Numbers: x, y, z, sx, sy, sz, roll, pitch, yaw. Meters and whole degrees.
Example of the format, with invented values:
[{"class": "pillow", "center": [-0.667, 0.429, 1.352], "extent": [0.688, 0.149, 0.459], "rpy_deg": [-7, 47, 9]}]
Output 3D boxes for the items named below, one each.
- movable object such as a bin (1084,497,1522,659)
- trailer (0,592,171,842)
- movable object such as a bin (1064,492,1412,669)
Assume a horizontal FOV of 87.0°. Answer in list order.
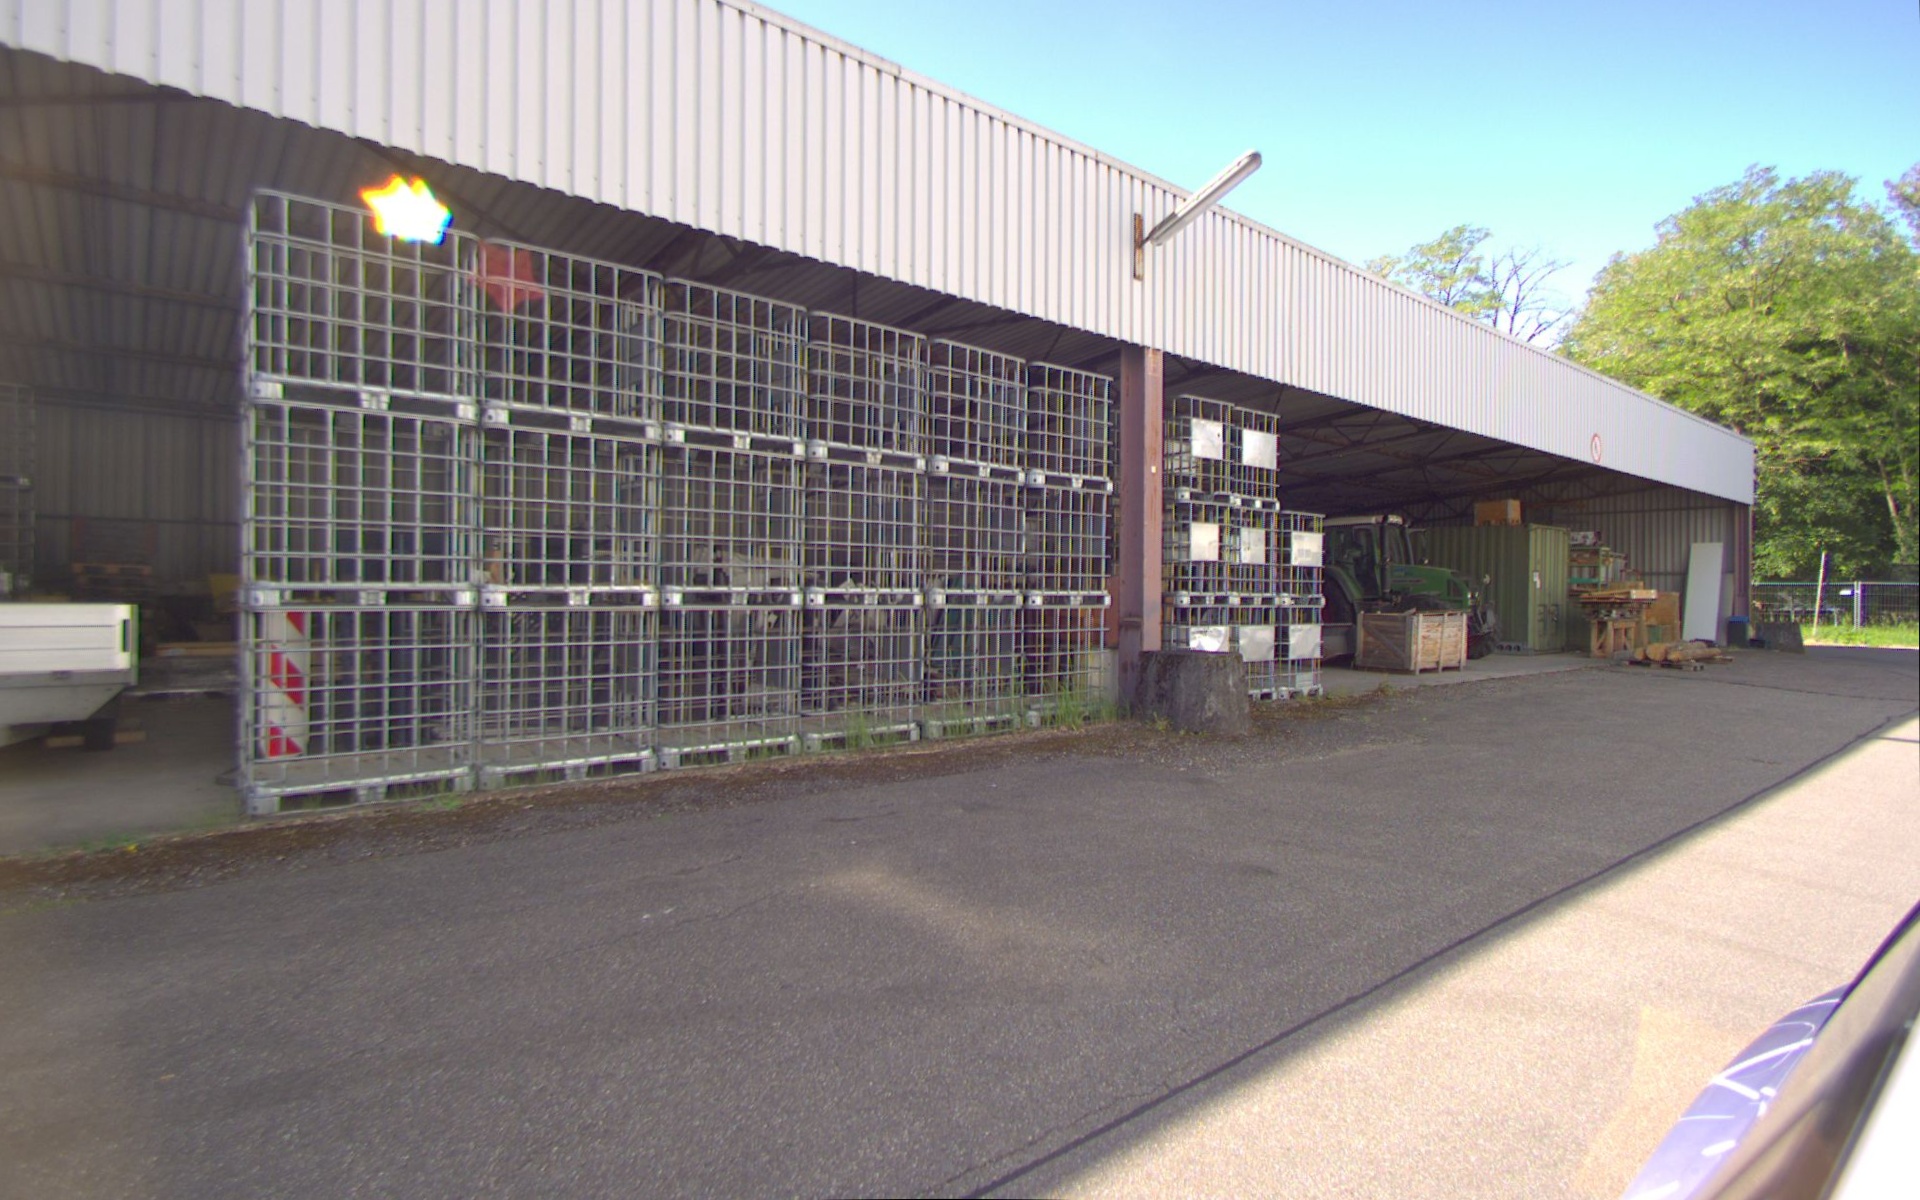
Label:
[{"class": "movable object such as a bin", "center": [7.251, -0.438, 23.017], "extent": [3.154, 2.947, 9.213], "rpy_deg": [0, 0, -39]}, {"class": "trailer", "center": [-6.875, 0.551, 6.830], "extent": [2.104, 1.147, 5.857], "rpy_deg": [0, 1, -41]}, {"class": "movable object such as a bin", "center": [5.313, -0.355, 20.269], "extent": [2.962, 2.947, 6.199], "rpy_deg": [0, 0, -39]}]
